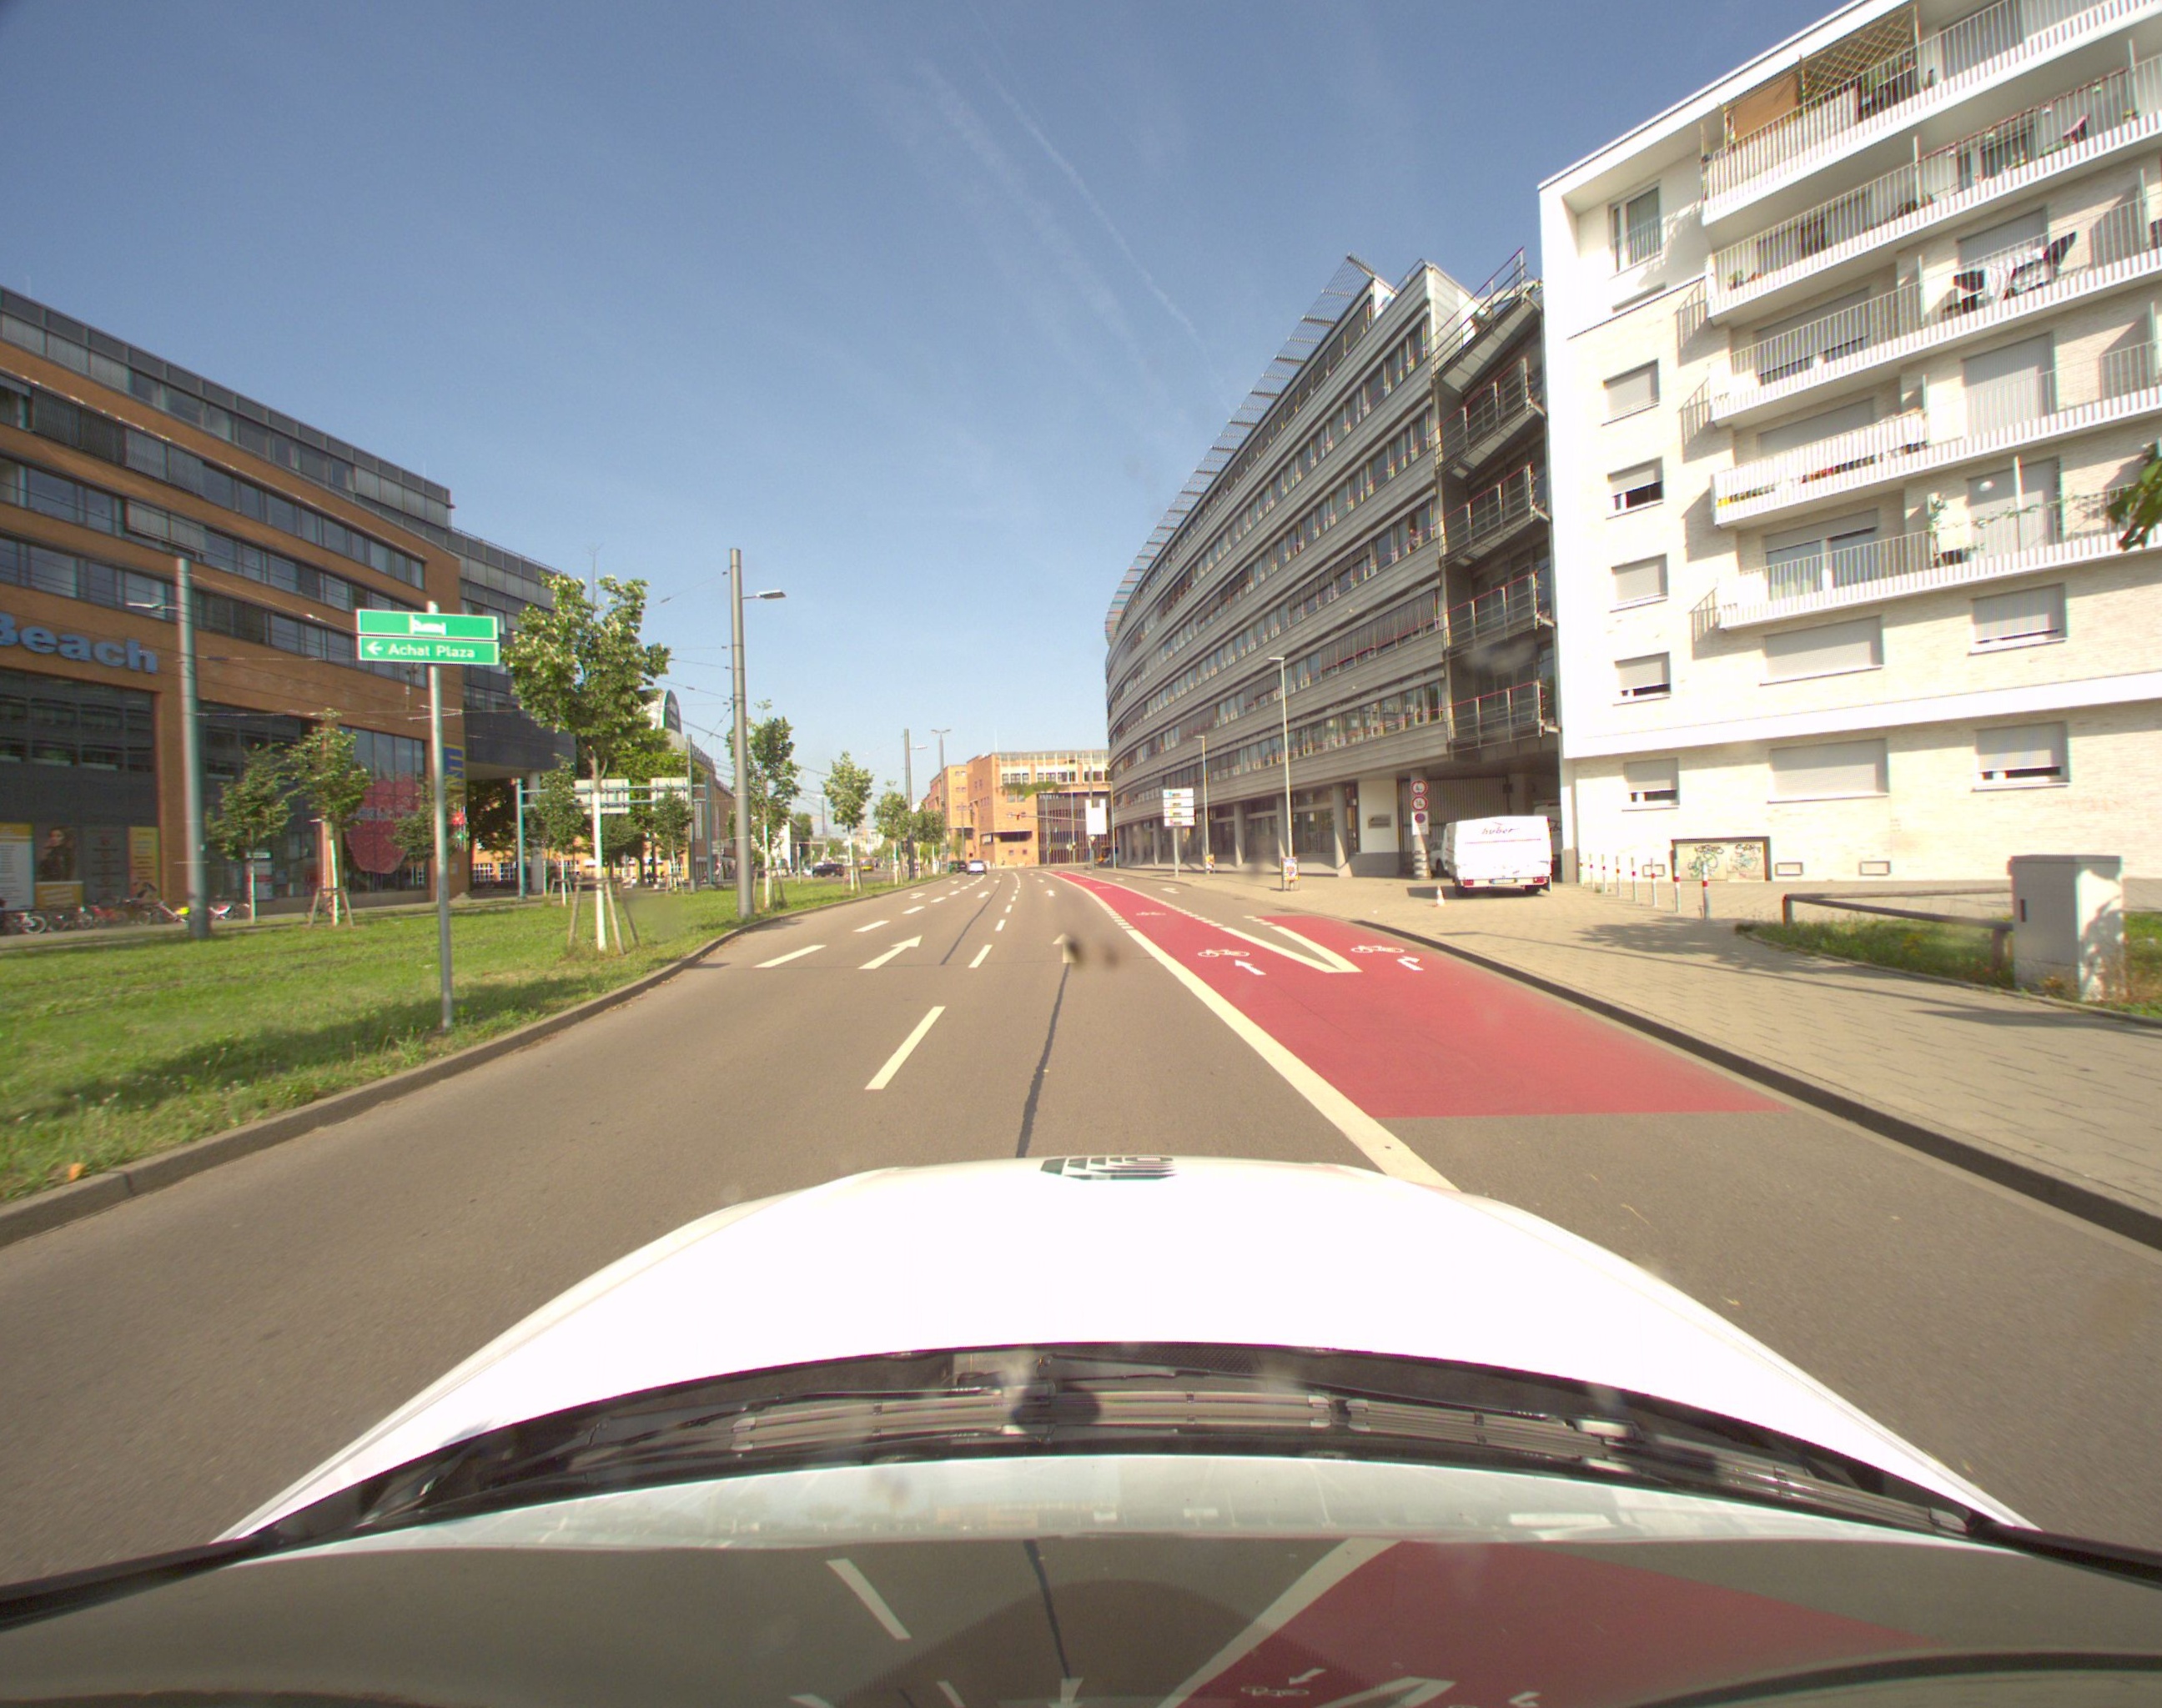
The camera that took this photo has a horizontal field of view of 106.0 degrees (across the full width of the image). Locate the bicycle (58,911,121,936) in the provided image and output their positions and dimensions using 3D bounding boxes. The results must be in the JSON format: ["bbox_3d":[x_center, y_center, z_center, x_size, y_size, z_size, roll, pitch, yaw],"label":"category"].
[{"bbox_3d":[-41.177,2.878,33.819,2.038,0.921,0.574,-2,0,5],"label":"bicycle"}]

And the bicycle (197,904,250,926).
[{"bbox_3d":[-40.811,2.888,38.759,2.038,0.921,0.574,-2,0,5],"label":"bicycle"}]

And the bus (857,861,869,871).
[{"bbox_3d":[-46.551,2.621,173.704,2.002,2.013,3.970,-2,0,-23],"label":"bus"}]

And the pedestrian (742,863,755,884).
[{"bbox_3d":[-33.982,2.003,83.176,1.159,2.014,0.771,-2,-2,-19],"label":"pedestrian"}]

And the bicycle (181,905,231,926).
[{"bbox_3d":[-40.839,2.868,38.023,2.038,0.921,0.381,-2,0,5],"label":"bicycle"}]

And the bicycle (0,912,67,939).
[{"bbox_3d":[-41.250,2.815,32.069,2.038,0.921,0.574,-2,0,5],"label":"bicycle"}]

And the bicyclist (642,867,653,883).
[{"bbox_3d":[-48.251,2.297,90.579,0.955,1.747,0.671,-4,-2,32],"label":"bicyclist"}]

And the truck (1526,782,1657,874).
[{"bbox_3d":[20.405,-1.087,32.418,6.179,3.096,1.978,-6,1,-35],"label":"truck"}]

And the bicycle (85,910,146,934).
[{"bbox_3d":[-41.148,2.885,34.721,2.038,0.921,0.574,-2,0,5],"label":"bicycle"}]

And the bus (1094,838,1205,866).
[{"bbox_3d":[11.101,-0.341,131.777,17.590,3.811,2.858,-2,-2,-7],"label":"bus"}]

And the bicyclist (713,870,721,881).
[{"bbox_3d":[-56.930,3.366,127.371,0.990,1.696,0.666,-2,-2,-22],"label":"bicyclist"}]

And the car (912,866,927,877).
[{"bbox_3d":[-31.688,3.417,159.734,2.003,2.014,3.966,-2,-2,-25],"label":"car"}]

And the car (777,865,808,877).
[{"bbox_3d":[-40.565,2.402,114.635,3.603,1.624,1.866,-2,0,-3],"label":"car"}]

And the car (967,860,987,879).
[{"bbox_3d":[-9.798,1.497,77.153,1.703,1.755,3.882,-2,-2,-6],"label":"car"}]

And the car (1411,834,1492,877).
[{"bbox_3d":[15.041,0.007,33.257,1.736,1.589,4.006,-2,1,5],"label":"car"}]

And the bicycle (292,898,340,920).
[{"bbox_3d":[-35.611,2.551,37.929,1.666,0.907,0.711,-2,-1,7],"label":"bicycle"}]

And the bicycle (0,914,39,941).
[{"bbox_3d":[-41.249,2.833,31.205,2.038,0.921,0.574,-2,0,5],"label":"bicycle"}]

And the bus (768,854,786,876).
[{"bbox_3d":[-57.396,2.025,153.920,2.754,3.921,12.140,-2,0,-18],"label":"bus"}]

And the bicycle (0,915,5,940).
[{"bbox_3d":[-41.332,2.784,30.289,2.038,0.921,0.574,-2,0,5],"label":"bicycle"}]

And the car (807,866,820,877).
[{"bbox_3d":[-42.162,2.785,128.331,1.737,1.542,3.420,-2,-2,-24],"label":"car"}]

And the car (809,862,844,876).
[{"bbox_3d":[-34.156,2.040,109.416,3.958,1.678,2.008,-3,-2,15],"label":"car"}]

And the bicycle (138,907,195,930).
[{"bbox_3d":[-40.841,2.866,36.377,2.038,0.921,0.574,-2,0,5],"label":"bicycle"}]

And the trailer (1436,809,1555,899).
[{"bbox_3d":[11.567,-0.019,23.162,2.368,2.151,5.981,-2,0,21],"label":"trailer"}]

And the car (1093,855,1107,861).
[{"bbox_3d":[2.960,0.623,127.035,1.949,0.958,1.091,0,-3,-7],"label":"car"}]

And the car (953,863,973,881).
[{"bbox_3d":[-14.201,2.196,98.211,1.991,2.014,4.234,-2,-2,-5],"label":"car"}]

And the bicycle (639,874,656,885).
[{"bbox_3d":[-48.160,2.840,90.512,2.257,1.206,0.553,-4,-2,31],"label":"bicycle"}]

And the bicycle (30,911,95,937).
[{"bbox_3d":[-41.188,2.838,32.927,2.038,0.921,0.574,-2,0,5],"label":"bicycle"}]
